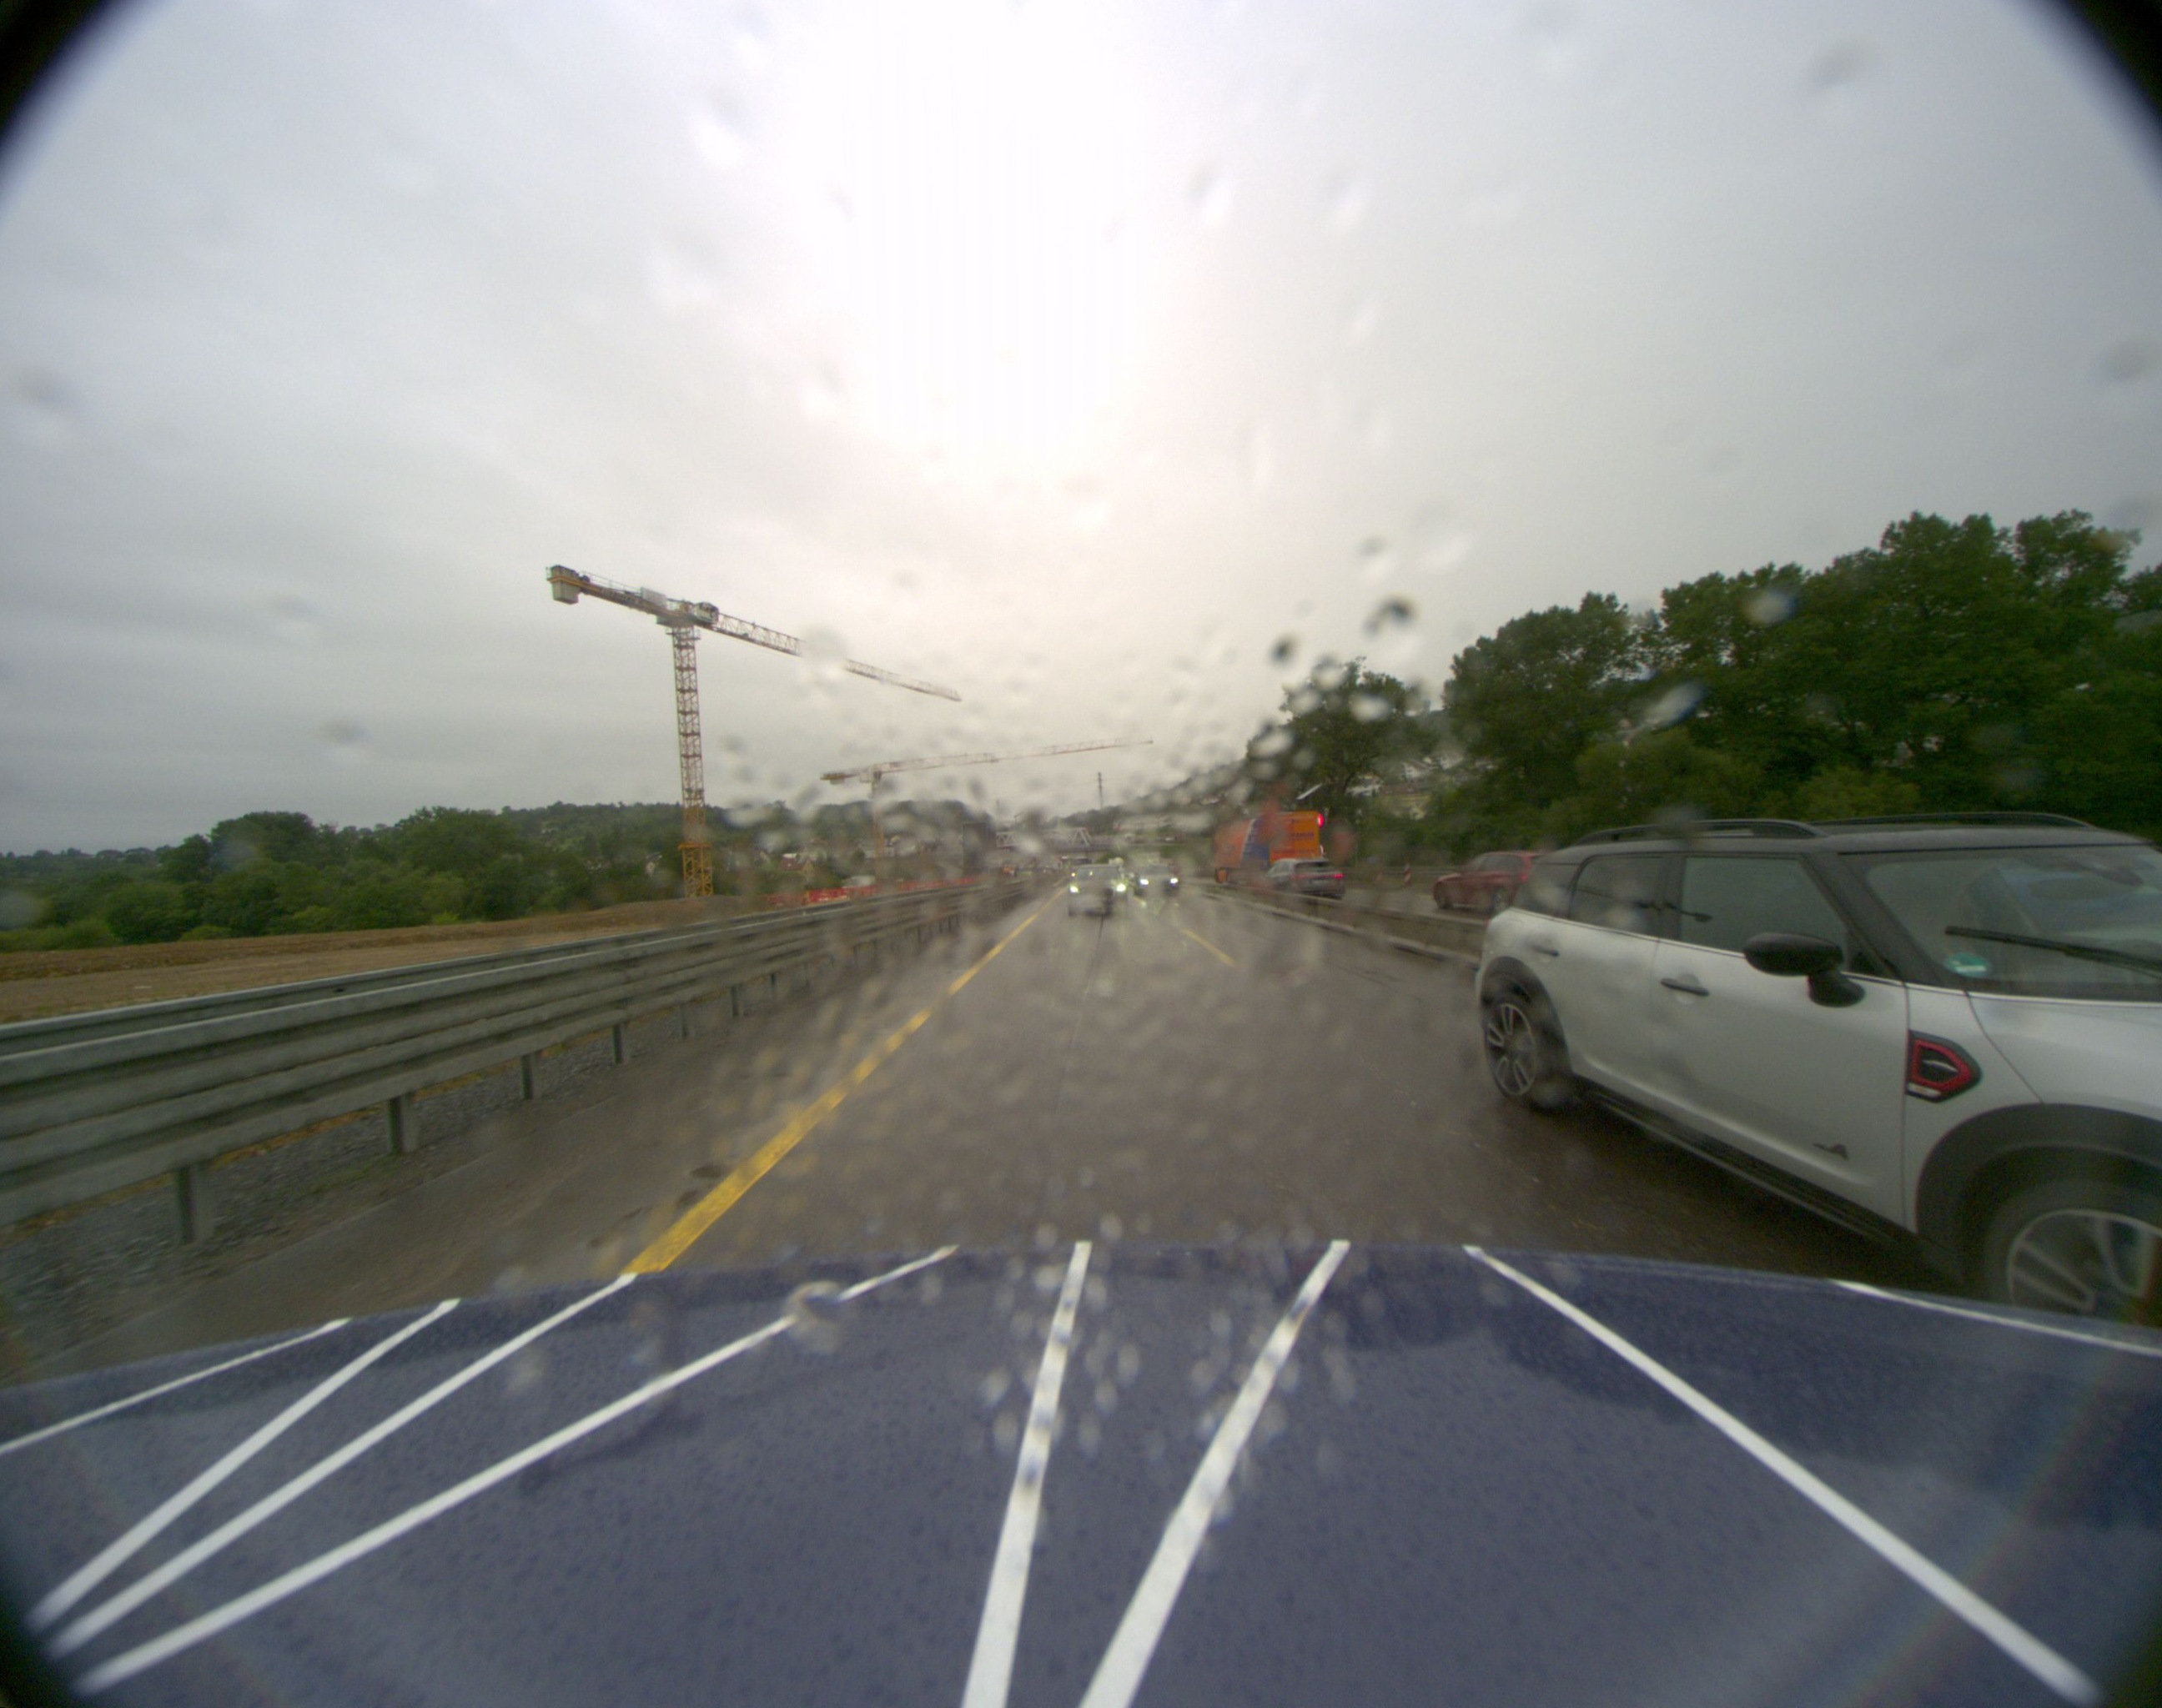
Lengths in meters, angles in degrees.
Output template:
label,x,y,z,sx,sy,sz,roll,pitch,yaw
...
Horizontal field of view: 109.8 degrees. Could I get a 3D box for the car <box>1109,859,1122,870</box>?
label,x,y,z,sx,sy,sz,roll,pitch,yaw
car,6.416,1.956,142.396,2.165,2.001,4.479,0,0,1

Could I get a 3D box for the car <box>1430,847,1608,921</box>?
label,x,y,z,sx,sy,sz,roll,pitch,yaw
car,10.322,0.626,18.335,1.822,1.501,4.306,-2,0,1

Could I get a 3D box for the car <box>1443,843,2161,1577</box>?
label,x,y,z,sx,sy,sz,roll,pitch,yaw
car,3.304,0.789,2.853,1.820,1.591,4.308,-2,0,1

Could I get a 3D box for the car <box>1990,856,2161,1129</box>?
label,x,y,z,sx,sy,sz,roll,pitch,yaw
car,6.629,0.706,2.554,1.912,1.440,4.411,0,-1,1

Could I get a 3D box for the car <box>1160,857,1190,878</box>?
label,x,y,z,sx,sy,sz,roll,pitch,yaw
car,7.495,1.035,60.829,1.836,1.501,4.126,-2,0,1

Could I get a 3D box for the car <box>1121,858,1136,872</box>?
label,x,y,z,sx,sy,sz,roll,pitch,yaw
car,7.004,1.568,112.460,1.907,2.001,4.000,0,0,1

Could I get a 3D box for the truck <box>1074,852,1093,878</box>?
label,x,y,z,sx,sy,sz,roll,pitch,yaw
truck,0.391,1.470,108.618,2.576,3.450,6.626,-2,0,1

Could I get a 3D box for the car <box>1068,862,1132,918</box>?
label,x,y,z,sx,sy,sz,roll,pitch,yaw
car,0.567,1.039,23.732,1.781,1.514,4.141,-2,0,1

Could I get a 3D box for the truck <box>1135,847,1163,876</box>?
label,x,y,z,sx,sy,sz,roll,pitch,yaw
truck,7.315,0.790,82.569,2.413,2.976,6.539,-2,0,1

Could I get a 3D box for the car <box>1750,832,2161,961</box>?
label,x,y,z,sx,sy,sz,roll,pitch,yaw
car,13.315,0.490,11.535,1.999,1.501,4.745,-2,0,-2

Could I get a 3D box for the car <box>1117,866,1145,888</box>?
label,x,y,z,sx,sy,sz,roll,pitch,yaw
car,3.688,1.681,56.905,1.781,1.430,4.483,-2,0,1

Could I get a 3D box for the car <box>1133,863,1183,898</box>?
label,x,y,z,sx,sy,sz,roll,pitch,yaw
car,3.578,1.212,36.072,1.951,1.430,4.483,-2,0,1

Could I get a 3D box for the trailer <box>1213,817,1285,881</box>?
label,x,y,z,sx,sy,sz,roll,pitch,yaw
trailer,11.037,-0.258,50.588,3.278,3.895,6.352,-2,-1,1

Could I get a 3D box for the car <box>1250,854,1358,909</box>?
label,x,y,z,sx,sy,sz,roll,pitch,yaw
car,6.966,0.796,24.310,1.978,1.501,4.745,-2,0,-1

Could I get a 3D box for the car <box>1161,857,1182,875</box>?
label,x,y,z,sx,sy,sz,roll,pitch,yaw
car,10.147,1.330,85.484,1.907,2.002,3.999,0,1,1

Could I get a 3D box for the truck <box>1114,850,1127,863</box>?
label,x,y,z,sx,sy,sz,roll,pitch,yaw
truck,9.434,0.578,183.536,2.800,2.769,5.497,-2,0,0

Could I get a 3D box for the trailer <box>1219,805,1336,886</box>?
label,x,y,z,sx,sy,sz,roll,pitch,yaw
trailer,10.949,-0.325,44.399,3.285,3.885,13.700,-2,-1,1

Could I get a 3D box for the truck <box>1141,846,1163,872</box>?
label,x,y,z,sx,sy,sz,roll,pitch,yaw
truck,10.482,0.758,112.761,2.608,3.605,6.539,-2,0,1
